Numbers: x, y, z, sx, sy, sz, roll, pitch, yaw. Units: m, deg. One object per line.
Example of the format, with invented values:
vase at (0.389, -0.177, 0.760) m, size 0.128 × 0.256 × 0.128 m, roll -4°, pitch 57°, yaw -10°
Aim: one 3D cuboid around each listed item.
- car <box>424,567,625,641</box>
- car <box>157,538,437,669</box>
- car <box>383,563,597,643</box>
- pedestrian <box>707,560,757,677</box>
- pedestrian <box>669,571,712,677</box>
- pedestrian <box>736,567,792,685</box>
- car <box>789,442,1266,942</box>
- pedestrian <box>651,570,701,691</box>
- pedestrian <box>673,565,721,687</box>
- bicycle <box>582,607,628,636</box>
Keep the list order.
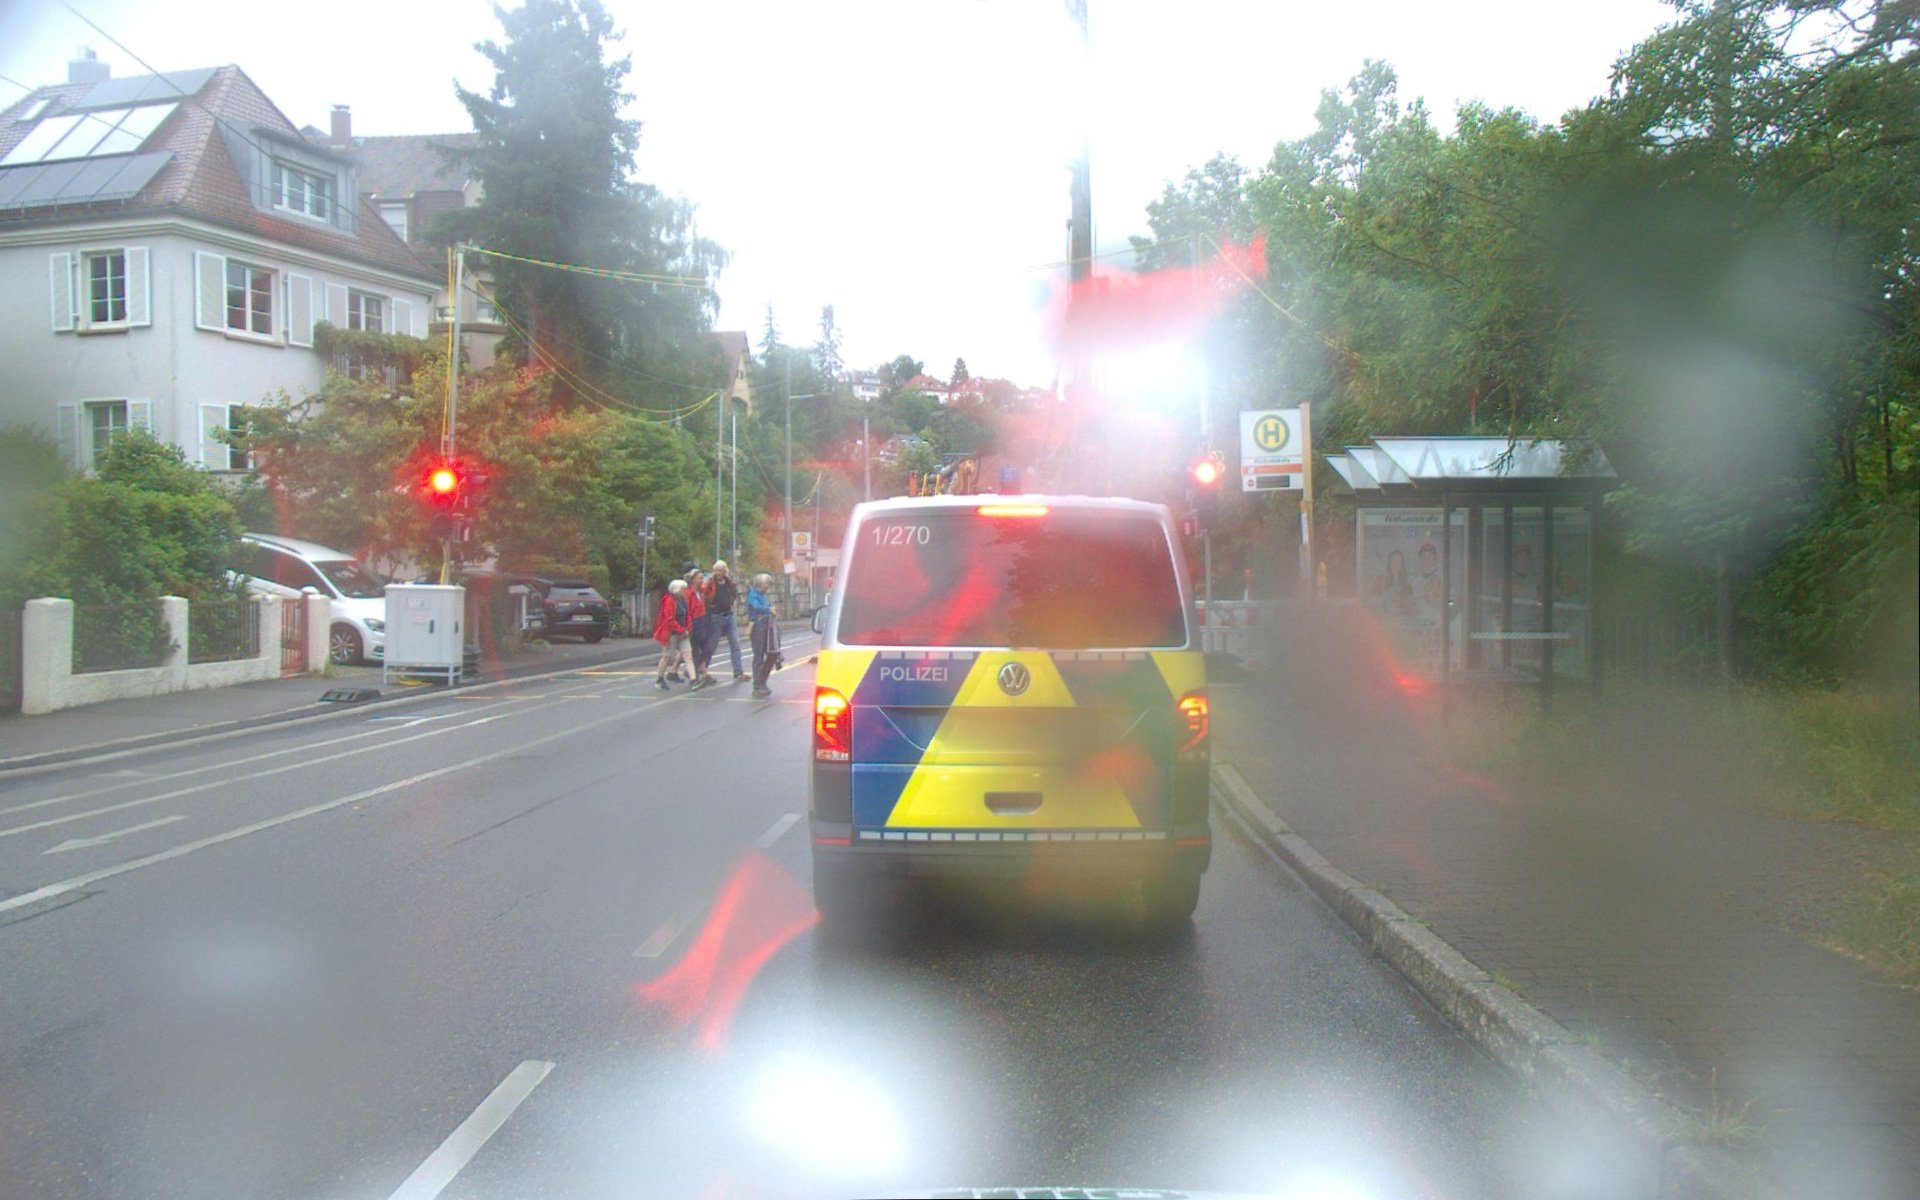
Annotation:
car at (-9.700, 0.098, 36.970) m, size 3.902 × 1.512 × 1.761 m, roll 1°, pitch -2°, yaw 10°
car at (-10.923, 0.041, 27.356) m, size 3.902 × 2.049 × 1.832 m, roll 1°, pitch 0°, yaw 11°
car at (-9.849, 0.078, 34.819) m, size 3.902 × 1.512 × 1.761 m, roll 1°, pitch -2°, yaw 10°
pedestrian at (-3.463, 0.283, 25.180) m, size 0.613 × 1.745 × 0.593 m, roll 2°, pitch -2°, yaw 1°
pedestrian at (-3.966, 0.349, 24.360) m, size 0.514 × 1.533 × 0.429 m, roll 2°, pitch -2°, yaw 1°
pedestrian at (-2.616, 0.354, 22.147) m, size 0.613 × 1.548 × 0.593 m, roll 2°, pitch -2°, yaw 1°
car at (0.266, 0.375, 9.070) m, size 1.953 × 2.049 × 4.401 m, roll 1°, pitch 0°, yaw -1°
pedestrian at (-3.885, 0.419, 22.644) m, size 0.551 × 1.610 × 0.468 m, roll 2°, pitch -2°, yaw 1°
pedestrian at (-3.710, 0.371, 23.336) m, size 0.537 × 1.697 × 0.414 m, roll 2°, pitch -2°, yaw 1°
bicycle at (-8.560, 0.521, 39.890) m, size 1.031 × 0.674 × 0.320 m, roll 1°, pitch -2°, yaw 10°
